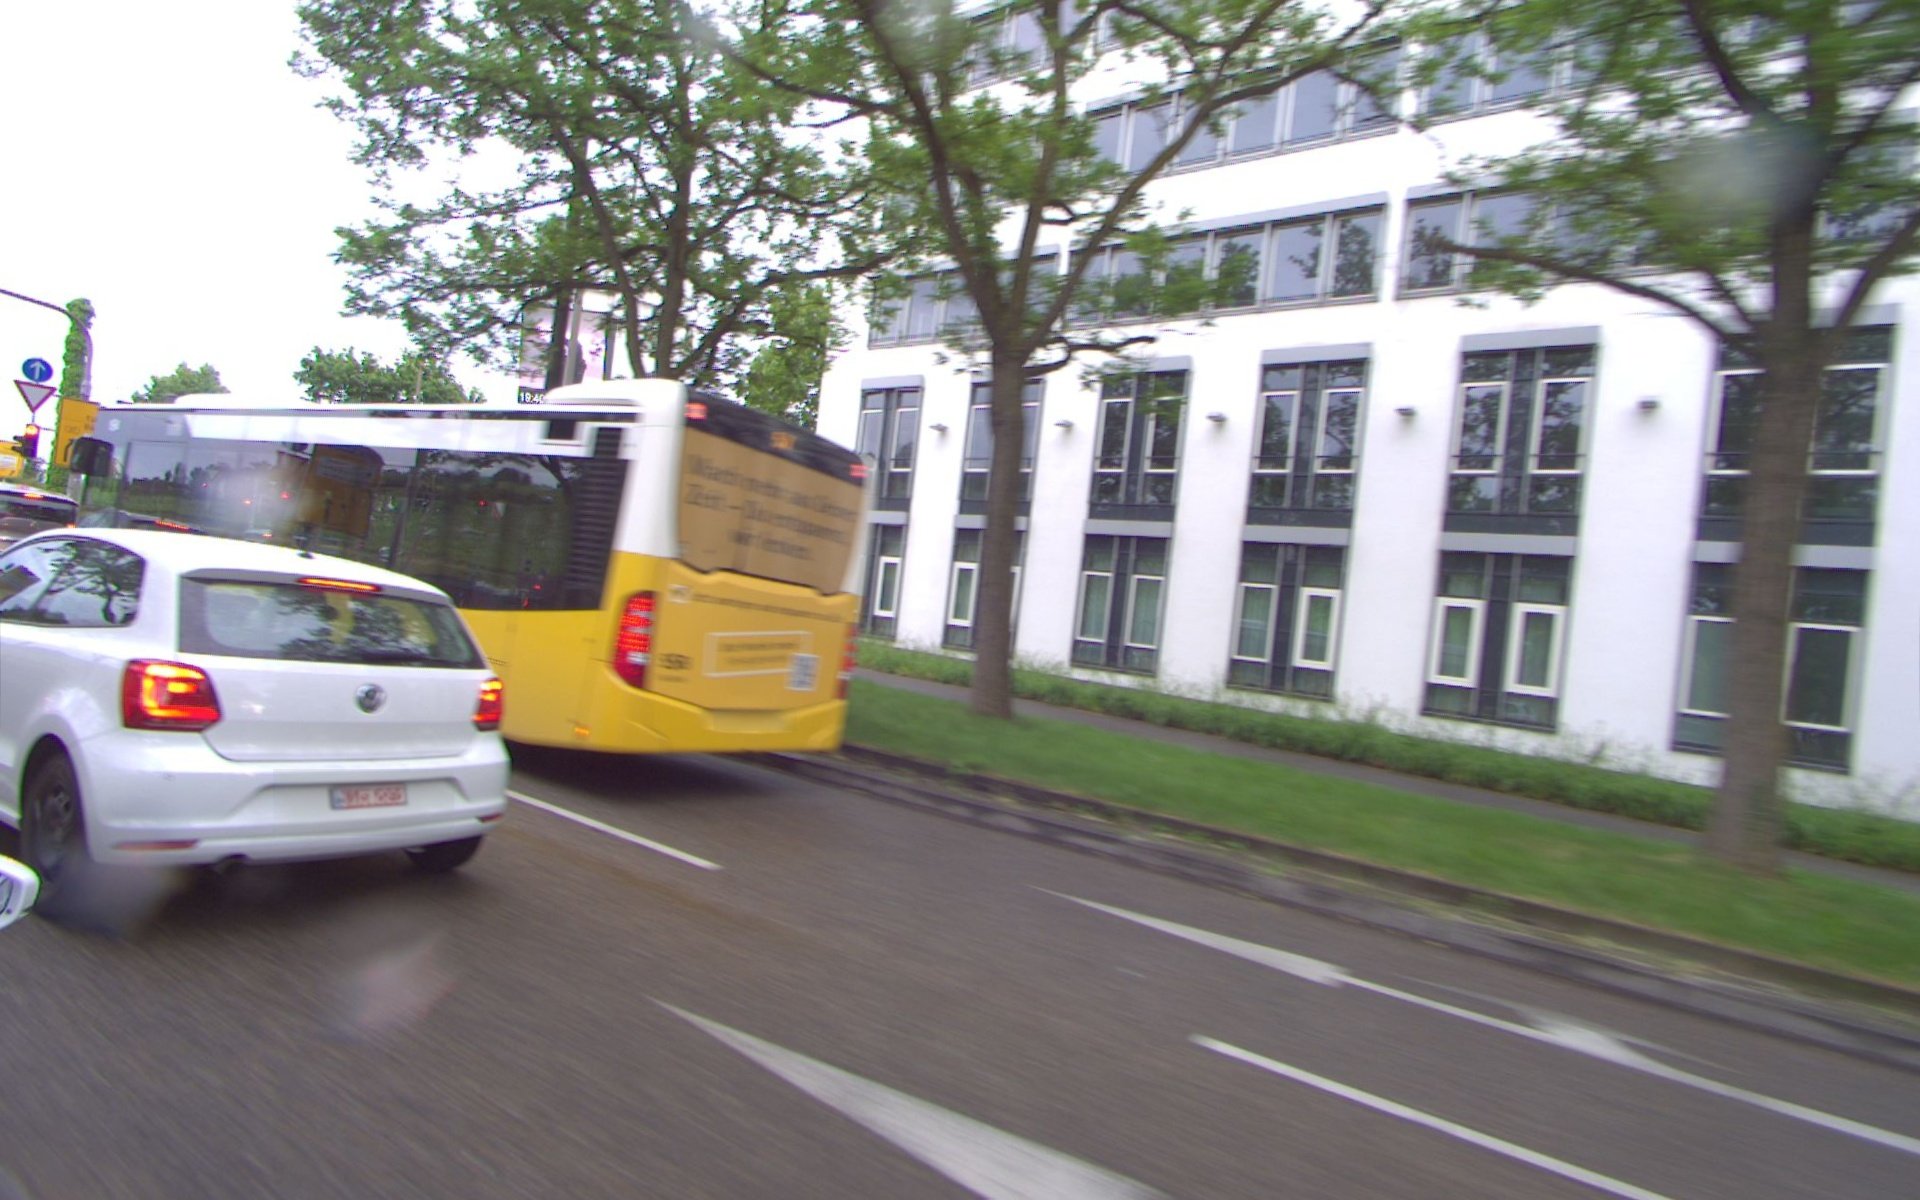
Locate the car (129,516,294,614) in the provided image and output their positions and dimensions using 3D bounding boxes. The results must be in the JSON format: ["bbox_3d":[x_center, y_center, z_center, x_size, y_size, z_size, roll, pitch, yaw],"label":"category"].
[{"bbox_3d":[-14.206,-0.641,19.353,1.849,1.516,4.123,6,-1,-28],"label":"car"}]

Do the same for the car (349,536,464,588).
[{"bbox_3d":[-23.683,-1.579,43.082,4.025,1.585,1.856,9,-4,-33],"label":"car"}]

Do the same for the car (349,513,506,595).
[{"bbox_3d":[-24.319,-2.030,46.128,5.968,2.771,2.066,9,-3,-31],"label":"car"}]

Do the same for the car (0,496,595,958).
[{"bbox_3d":[-3.852,0.370,4.991,3.749,1.447,1.745,6,-3,32],"label":"car"}]

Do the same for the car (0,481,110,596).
[{"bbox_3d":[-16.983,-1.249,17.559,4.490,1.693,1.869,8,-1,32],"label":"car"}]

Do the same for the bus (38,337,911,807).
[{"bbox_3d":[-6.331,-0.654,11.202,11.949,3.187,2.732,7,-2,34],"label":"bus"}]
